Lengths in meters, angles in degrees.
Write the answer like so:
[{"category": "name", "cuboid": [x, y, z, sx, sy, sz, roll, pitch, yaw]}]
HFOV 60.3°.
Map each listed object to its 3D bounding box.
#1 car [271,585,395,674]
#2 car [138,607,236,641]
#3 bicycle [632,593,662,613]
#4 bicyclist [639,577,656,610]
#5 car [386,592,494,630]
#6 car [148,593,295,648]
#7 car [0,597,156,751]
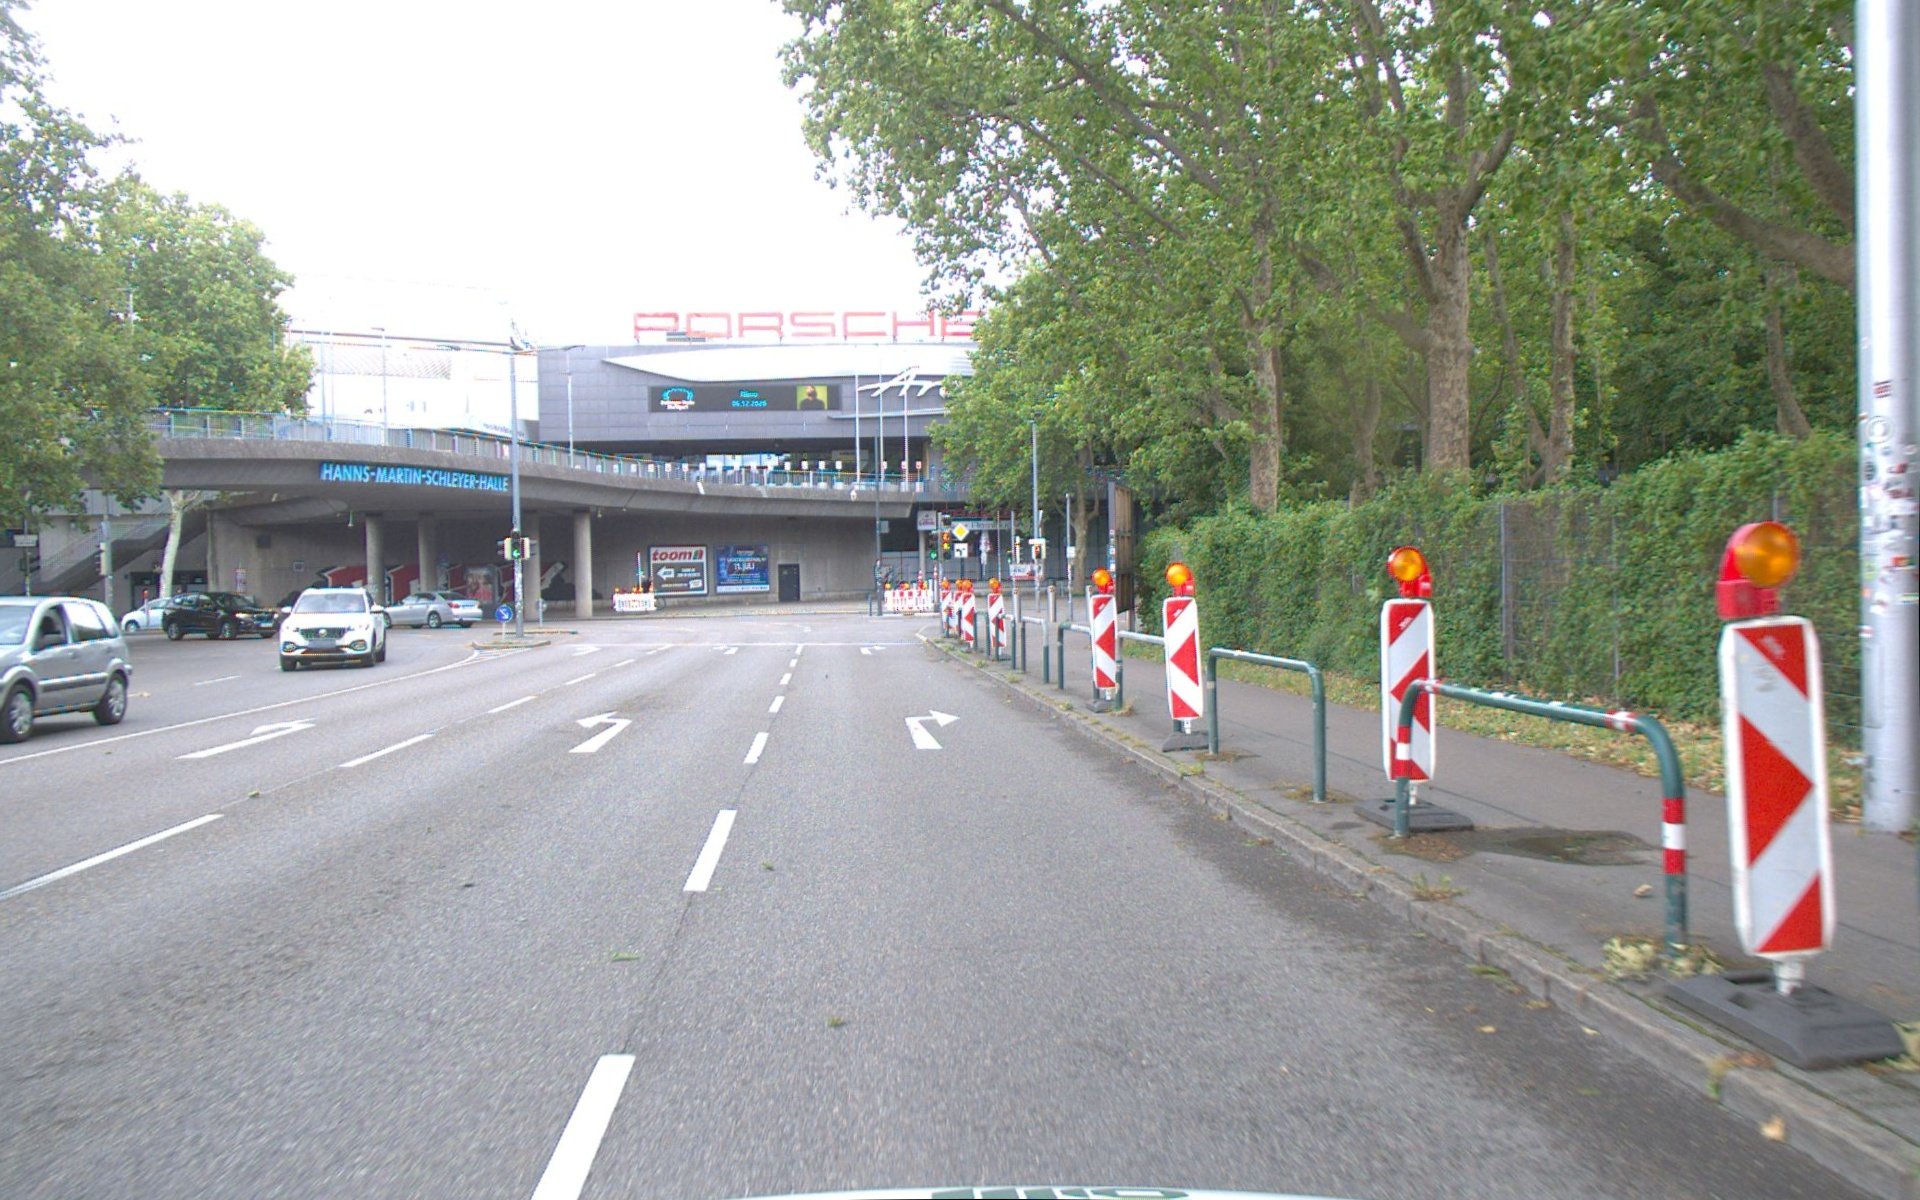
[{"category": "car", "cuboid": [-13.482, 0.575, 35.814, 1.960, 1.775, 4.578, 0, 0, -14]}, {"category": "car", "cuboid": [-32.251, 0.995, 69.070, 3.315, 1.336, 1.615, -1, 0, -1]}, {"category": "bicycle", "cuboid": [-16.374, 0.151, 86.594, 1.504, 1.031, 0.516, 0, 0, -9]}, {"category": "bicyclist", "cuboid": [-16.380, -0.338, 86.602, 0.836, 1.727, 0.765, 0, 0, -8]}, {"category": "car", "cuboid": [-20.667, 0.451, 65.735, 3.912, 1.443, 1.996, -1, 0, 30]}, {"category": "car", "cuboid": [-25.124, 0.699, 56.308, 4.319, 1.634, 1.777, -3, 0, 13]}, {"category": "car", "cuboid": [-10.867, 0.786, 18.581, 1.955, 1.551, 3.995, -2, 0, -5]}]
